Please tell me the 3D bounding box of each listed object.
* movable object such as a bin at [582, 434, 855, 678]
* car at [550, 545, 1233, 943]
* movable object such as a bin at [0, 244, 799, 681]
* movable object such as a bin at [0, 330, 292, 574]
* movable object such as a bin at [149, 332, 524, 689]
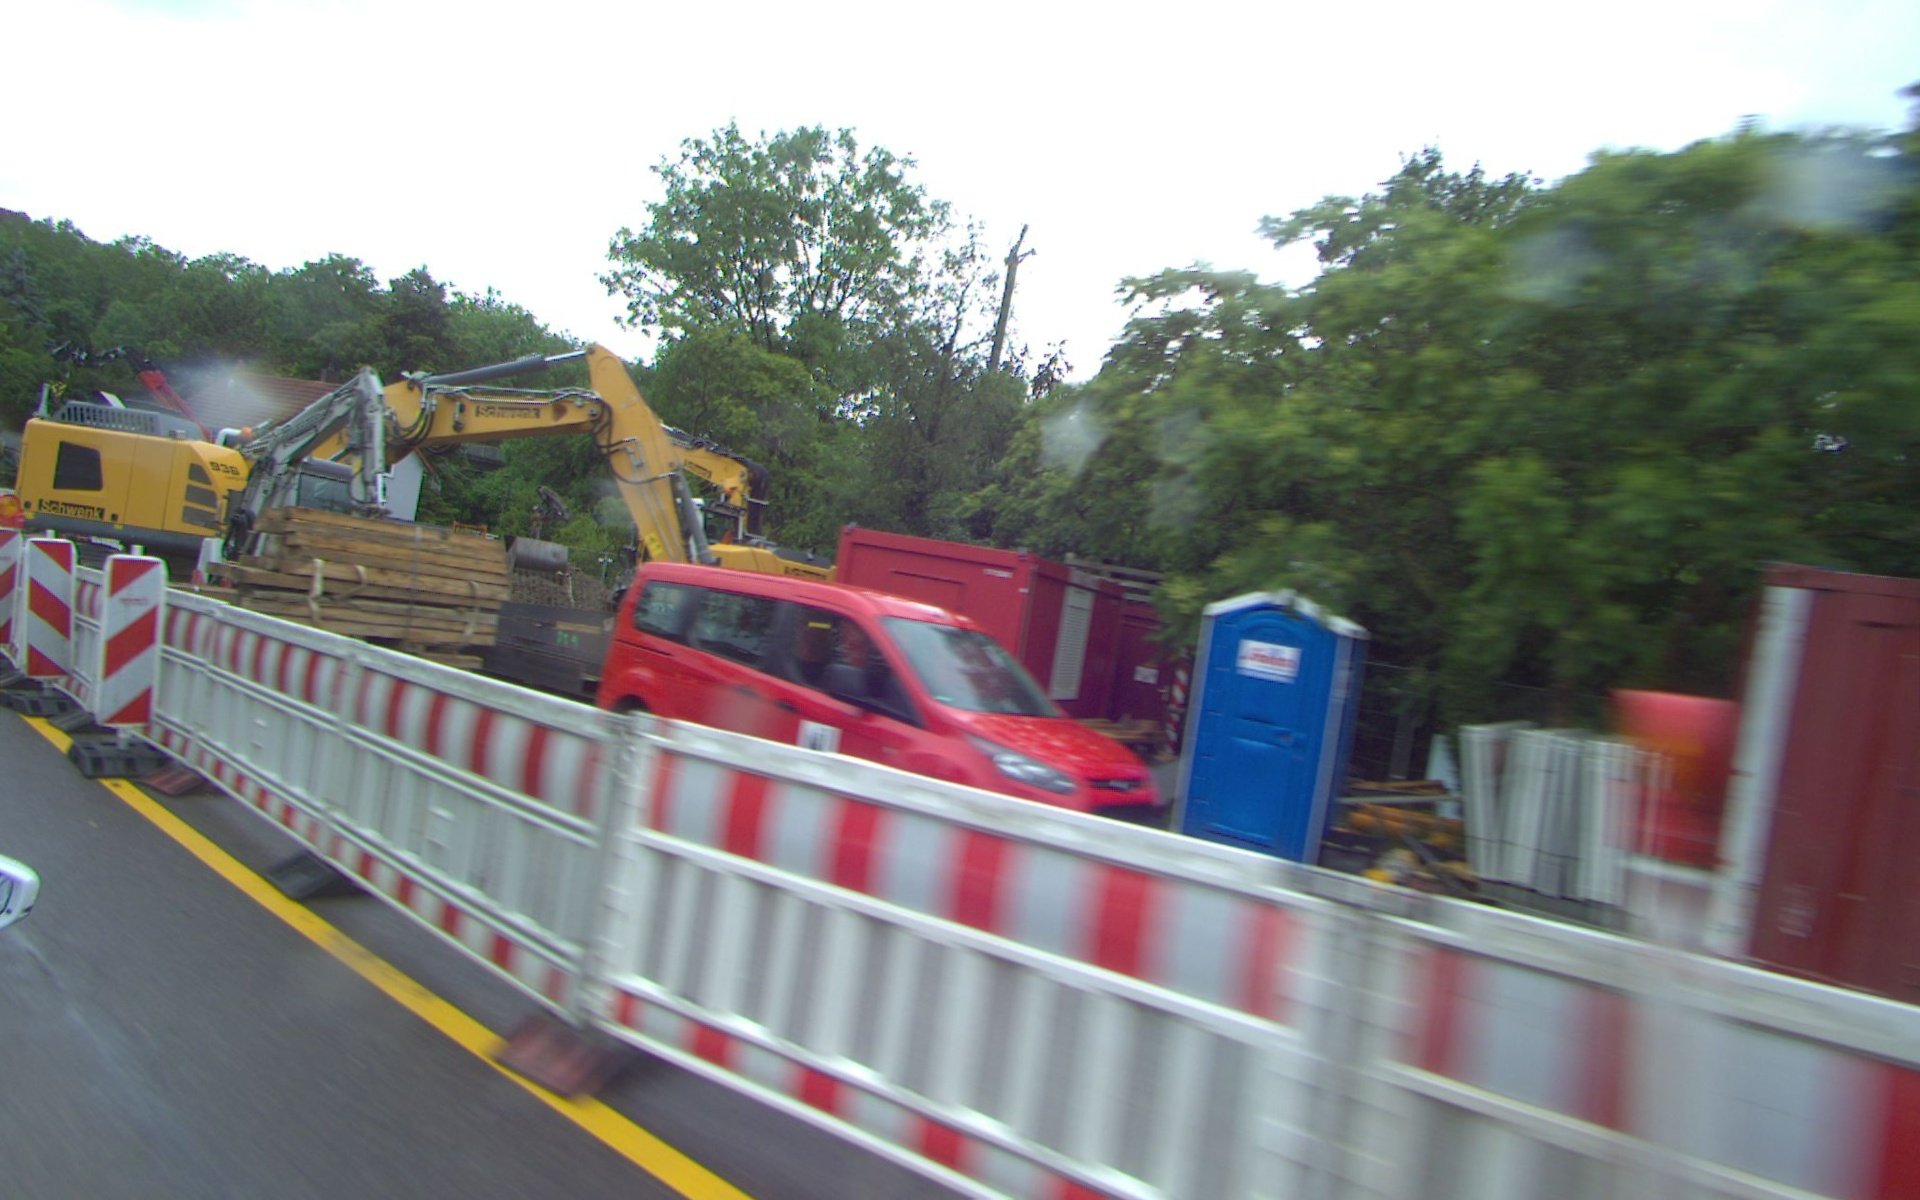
[{"bbox_3d":[-4.550,-0.879,18.653,4.545,3.934,1.995,7,-1,36],"label":"movable object such as a bin"},{"bbox_3d":[-0.772,0.777,7.585,4.923,1.800,1.994,7,-1,39],"label":"car"},{"bbox_3d":[-8.227,-1.839,15.197,10.615,4.975,3.070,6,-2,2],"label":"movable object such as a bin"},{"bbox_3d":[-28.110,-4.811,34.933,2.997,6.769,6.957,7,-1,34],"label":"movable object such as a bin"},{"bbox_3d":[-7.097,-0.886,11.389,3.775,3.343,1.995,4,-2,34],"label":"movable object such as a bin"}]
